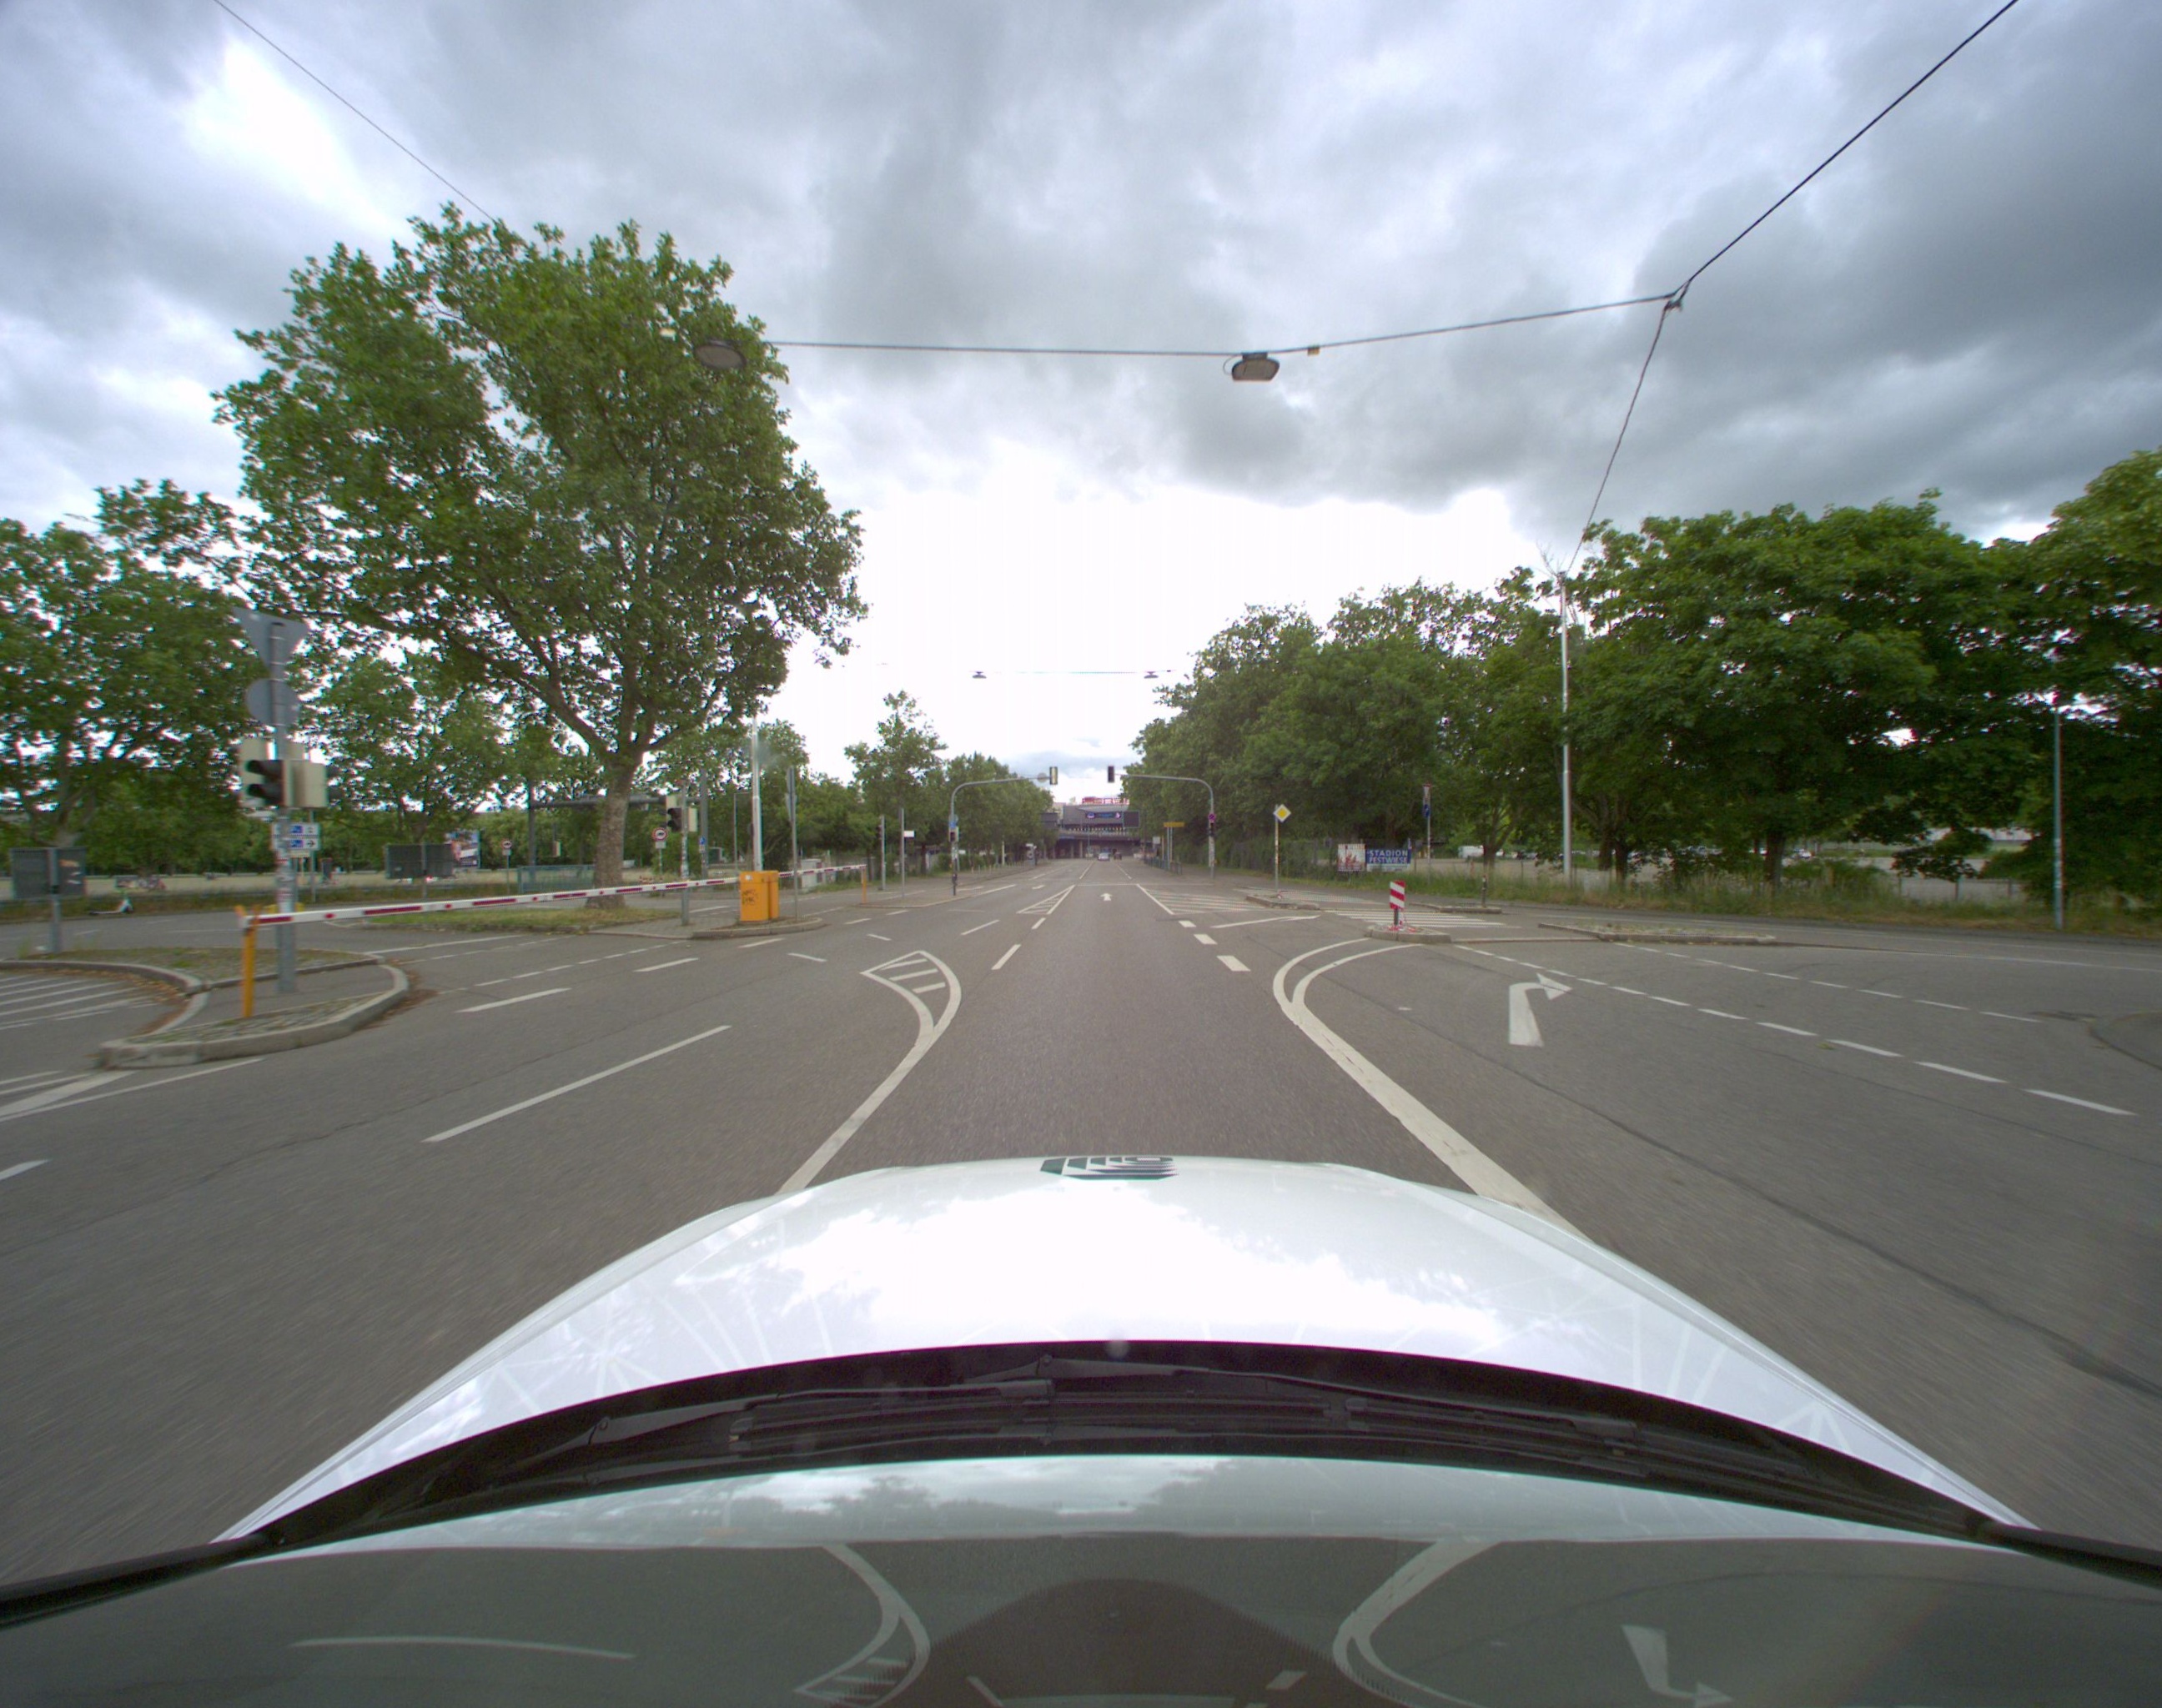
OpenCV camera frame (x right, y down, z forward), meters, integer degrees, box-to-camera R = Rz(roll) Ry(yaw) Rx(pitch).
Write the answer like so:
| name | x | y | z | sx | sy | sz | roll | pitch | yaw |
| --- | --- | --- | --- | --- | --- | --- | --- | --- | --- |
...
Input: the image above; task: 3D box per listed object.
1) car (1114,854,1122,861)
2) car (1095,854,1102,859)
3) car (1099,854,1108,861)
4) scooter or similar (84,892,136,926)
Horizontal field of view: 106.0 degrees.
| name | x | y | z | sx | sy | sz | roll | pitch | yaw |
| --- | --- | --- | --- | --- | --- | --- | --- | --- | --- |
| car | 8.786 | 0.789 | 192.931 | 1.999 | 1.698 | 4.072 | 0 | 0 | 3 |
| car | 3.701 | 0.480 | 174.086 | 1.406 | 1.113 | 3.039 | 0 | 0 | 2 |
| car | 4.645 | 0.731 | 165.253 | 1.771 | 1.460 | 3.824 | 1 | 0 | 2 |
| scooter or similar | -37.907 | 2.139 | 31.808 | 0.412 | 1.221 | 1.224 | -1 | 0 | 13 |
